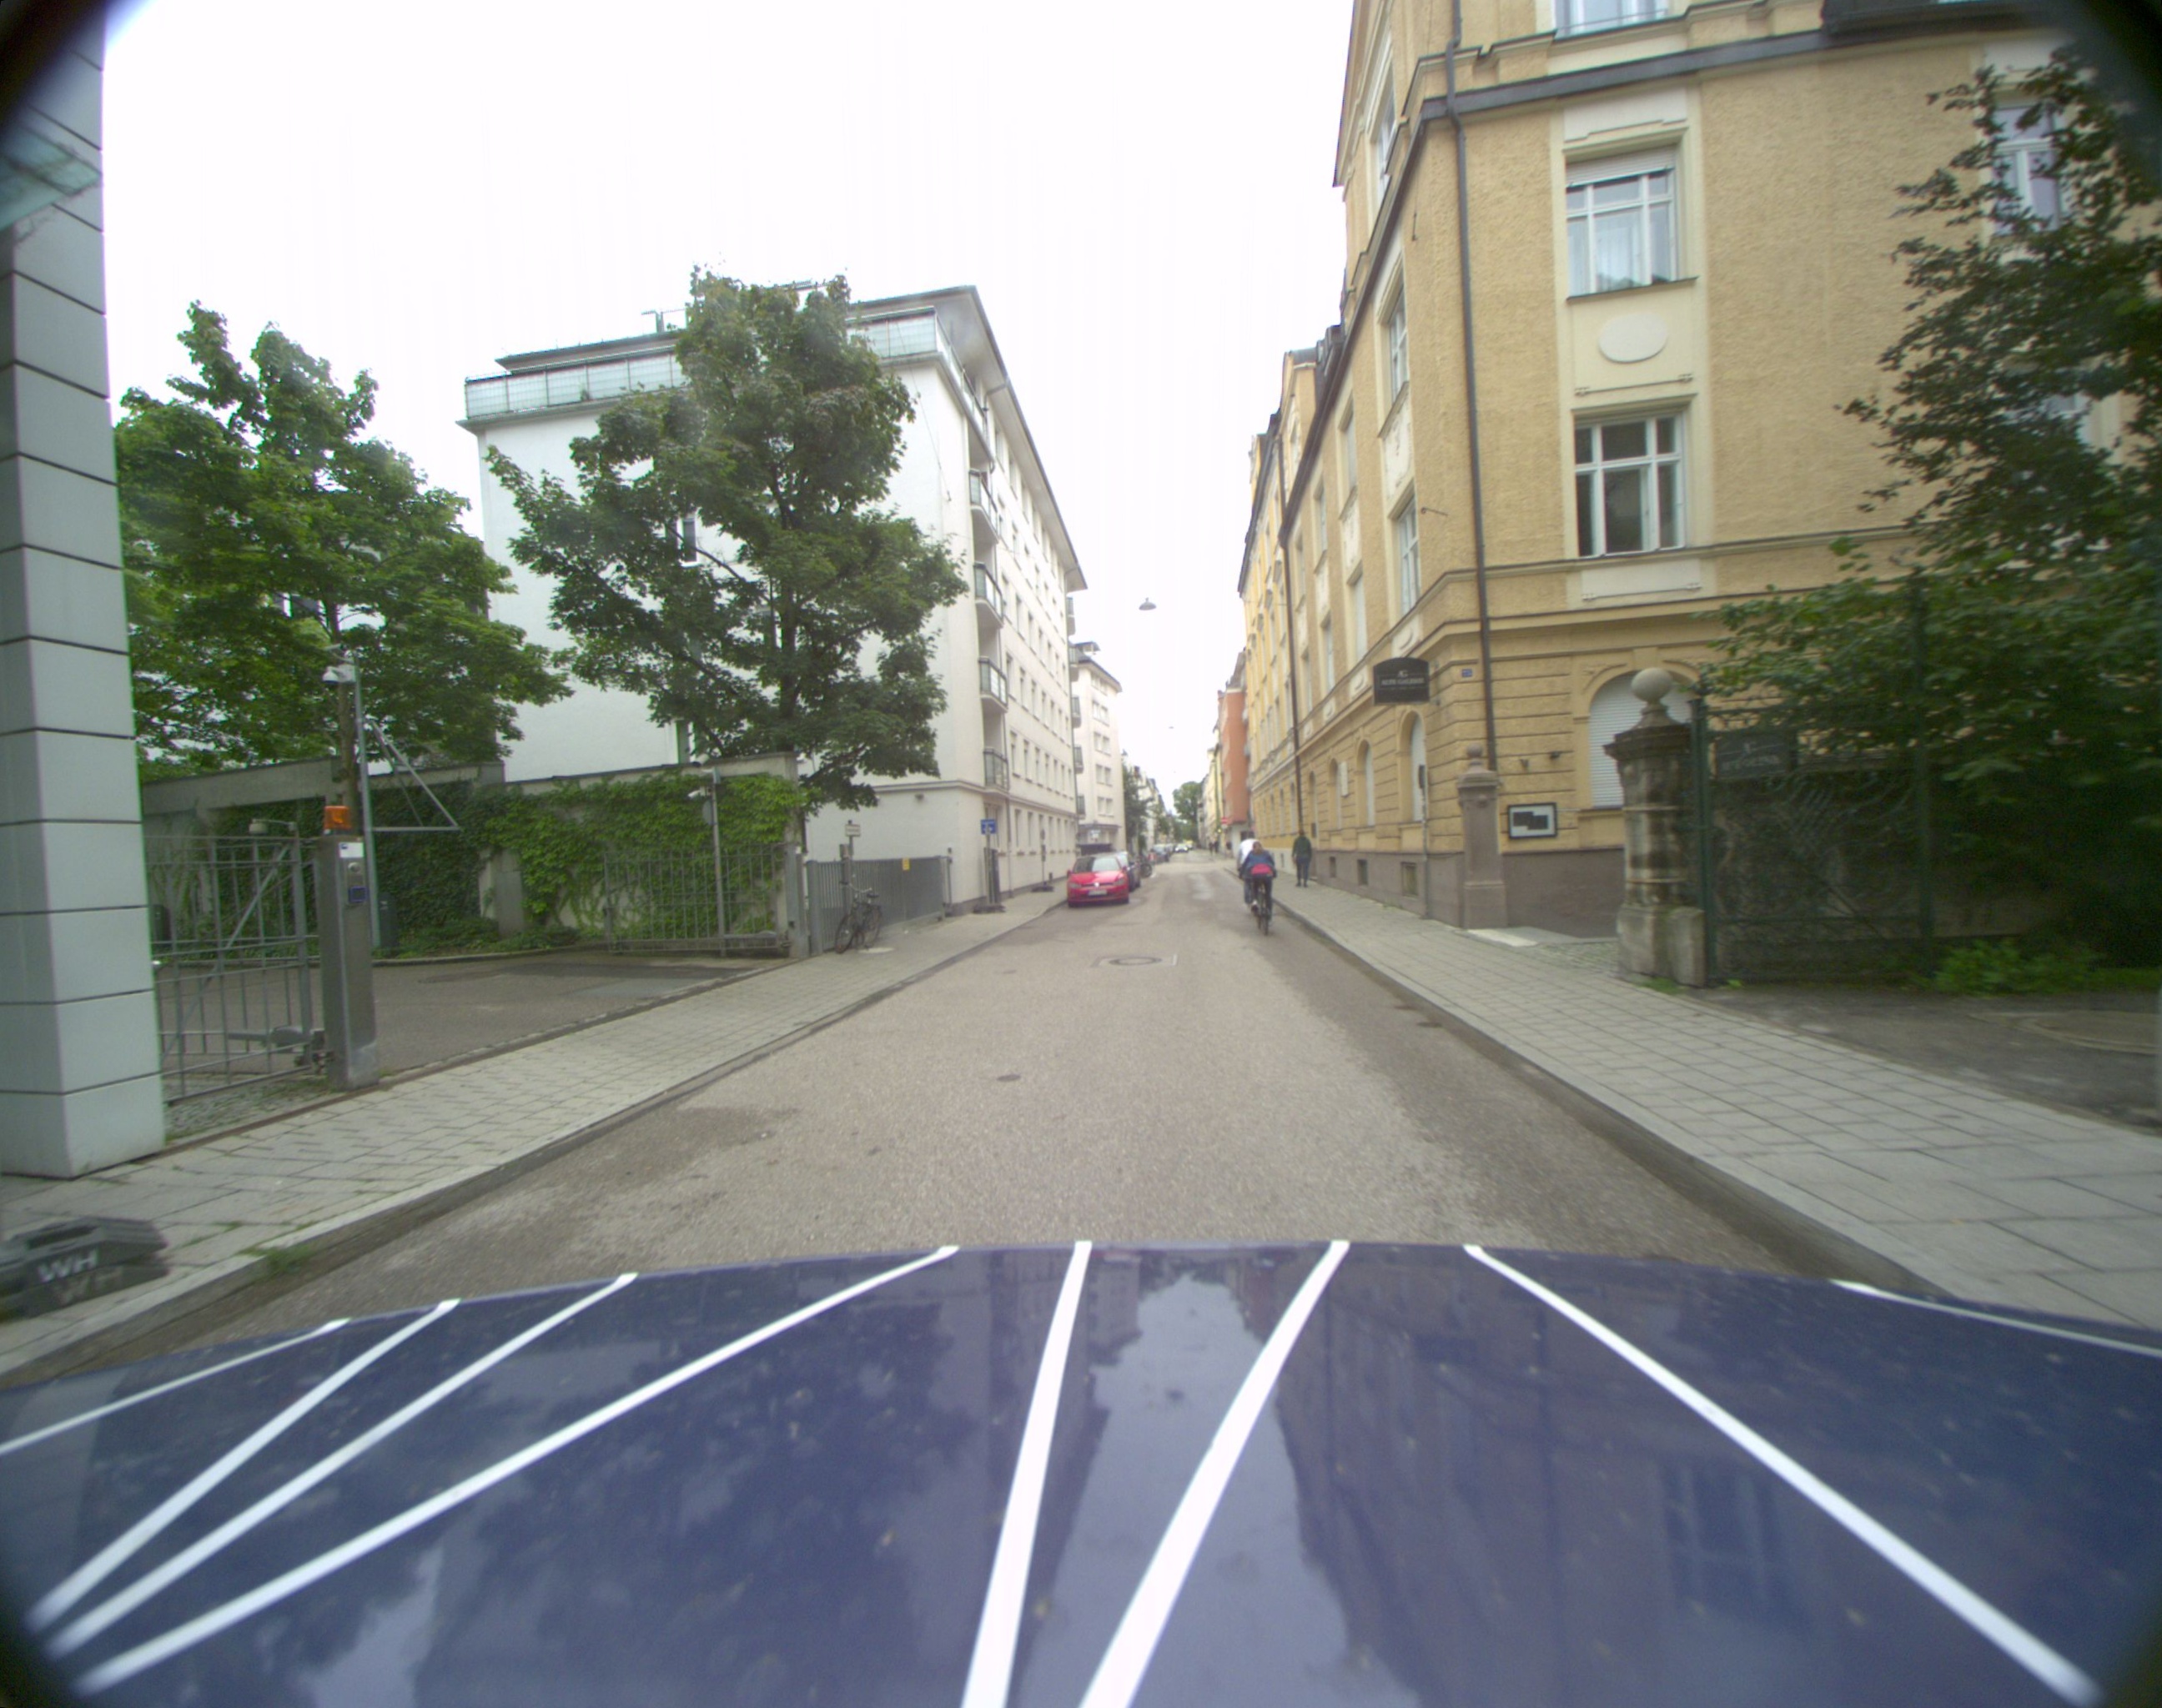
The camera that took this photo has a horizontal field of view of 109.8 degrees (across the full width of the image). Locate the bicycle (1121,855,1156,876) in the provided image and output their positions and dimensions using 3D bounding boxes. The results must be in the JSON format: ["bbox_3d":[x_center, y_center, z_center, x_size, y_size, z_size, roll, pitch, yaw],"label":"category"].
[{"bbox_3d":[2.890,0.587,38.217,1.706,1.038,0.360,-1,2,9],"label":"bicycle"}]

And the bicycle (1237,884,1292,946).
[{"bbox_3d":[3.215,1.052,13.444,0.709,0.900,1.810,-3,1,7],"label":"bicycle"}]

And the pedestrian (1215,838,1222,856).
[{"bbox_3d":[15.559,-0.759,86.083,0.634,2.002,0.788,-2,1,8],"label":"pedestrian"}]

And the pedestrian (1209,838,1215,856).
[{"bbox_3d":[14.874,-0.745,86.080,0.634,2.002,0.788,-2,1,8],"label":"pedestrian"}]

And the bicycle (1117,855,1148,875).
[{"bbox_3d":[2.694,0.568,39.637,1.519,1.038,0.360,-1,2,16],"label":"bicycle"}]

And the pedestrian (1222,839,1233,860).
[{"bbox_3d":[11.899,-0.381,61.743,0.613,1.684,0.565,-3,1,-4],"label":"pedestrian"}]

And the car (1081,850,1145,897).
[{"bbox_3d":[1.292,0.662,28.578,1.798,1.430,4.385,-4,1,9],"label":"car"}]

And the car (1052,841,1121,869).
[{"bbox_3d":[0.448,0.067,56.252,4.674,1.880,1.936,-3,0,16],"label":"car"}]

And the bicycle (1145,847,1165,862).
[{"bbox_3d":[6.199,0.026,63.499,1.607,1.207,0.529,-3,1,11],"label":"bicycle"}]

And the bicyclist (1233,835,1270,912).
[{"bbox_3d":[3.782,0.423,16.910,0.661,1.633,0.895,-3,1,7],"label":"bicyclist"}]

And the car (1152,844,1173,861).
[{"bbox_3d":[7.426,-0.192,69.210,1.653,1.391,4.002,-3,1,8],"label":"car"}]

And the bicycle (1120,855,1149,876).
[{"bbox_3d":[2.709,0.585,38.713,1.437,1.038,0.330,-1,2,16],"label":"bicycle"}]

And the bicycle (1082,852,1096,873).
[{"bbox_3d":[0.464,0.490,44.704,0.399,1.198,1.503,-2,2,-17],"label":"bicycle"}]

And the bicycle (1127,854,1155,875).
[{"bbox_3d":[3.145,0.552,39.915,1.440,1.038,0.360,-1,2,16],"label":"bicycle"}]

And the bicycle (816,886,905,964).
[{"bbox_3d":[-3.697,1.165,12.908,0.709,1.191,1.835,-3,-2,9],"label":"bicycle"}]

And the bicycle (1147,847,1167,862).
[{"bbox_3d":[6.306,0.032,62.888,1.607,1.207,0.529,-3,1,11],"label":"bicycle"}]

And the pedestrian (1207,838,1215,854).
[{"bbox_3d":[14.724,-0.935,86.114,0.725,1.783,0.830,-3,1,8],"label":"pedestrian"}]

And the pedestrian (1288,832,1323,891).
[{"bbox_3d":[6.651,0.207,22.594,0.714,1.656,0.930,-6,1,8],"label":"pedestrian"}]

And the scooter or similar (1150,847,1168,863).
[{"bbox_3d":[6.308,0.056,61.466,1.340,1.207,0.345,-3,1,11],"label":"scooter or similar"}]

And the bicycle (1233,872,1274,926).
[{"bbox_3d":[3.812,0.970,16.909,0.662,1.033,2.005,-3,1,7],"label":"bicycle"}]

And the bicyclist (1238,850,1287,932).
[{"bbox_3d":[3.193,0.636,13.447,0.709,1.363,0.813,-3,1,7],"label":"bicyclist"}]

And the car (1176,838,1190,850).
[{"bbox_3d":[16.138,-1.583,120.316,1.928,1.795,4.446,-3,0,7],"label":"car"}]

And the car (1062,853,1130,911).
[{"bbox_3d":[0.502,0.780,23.354,1.765,1.438,4.299,-5,1,2],"label":"car"}]

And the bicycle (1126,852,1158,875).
[{"bbox_3d":[3.326,0.535,41.577,1.698,1.154,0.378,-3,1,7],"label":"bicycle"}]

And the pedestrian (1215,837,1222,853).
[{"bbox_3d":[15.570,-0.995,86.170,0.699,1.783,0.764,-3,1,9],"label":"pedestrian"}]
